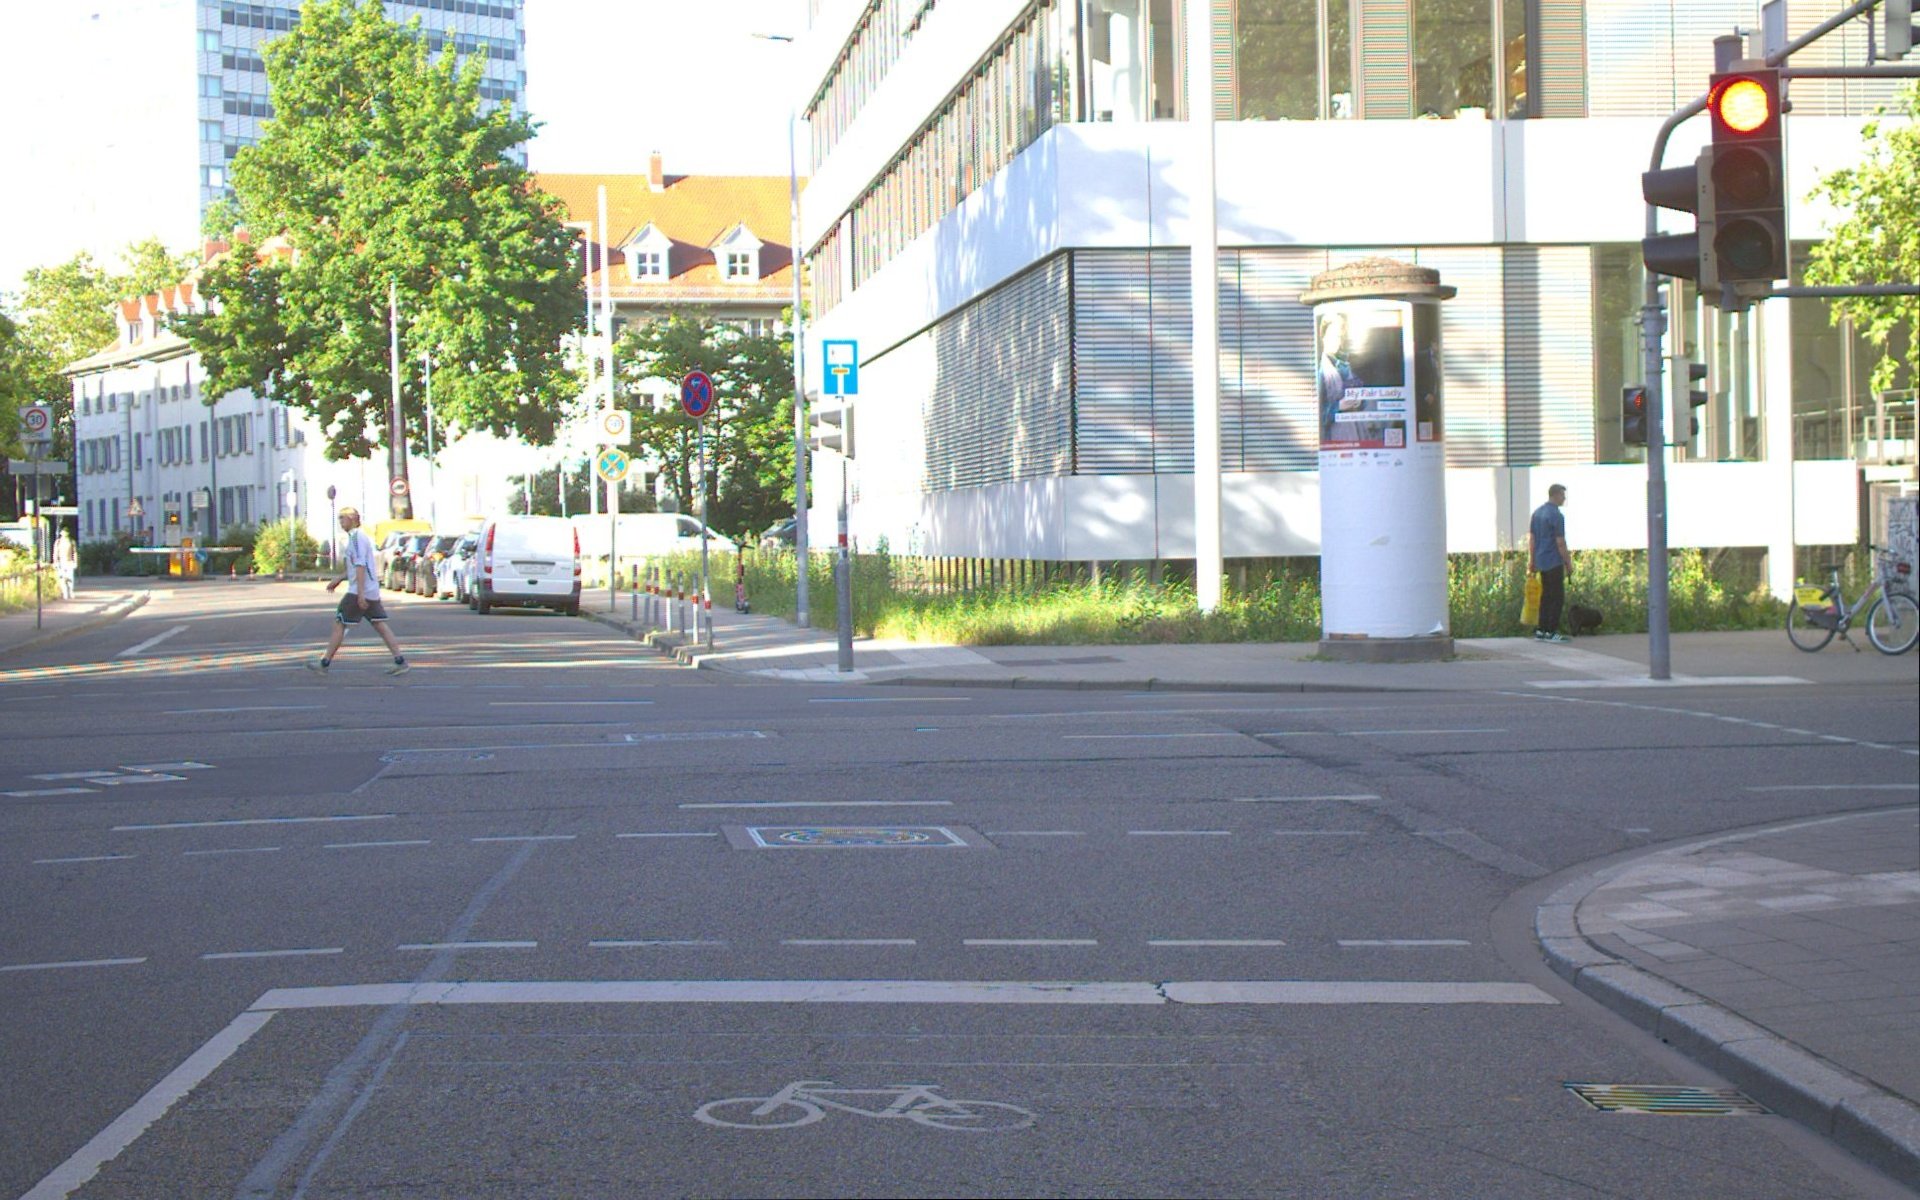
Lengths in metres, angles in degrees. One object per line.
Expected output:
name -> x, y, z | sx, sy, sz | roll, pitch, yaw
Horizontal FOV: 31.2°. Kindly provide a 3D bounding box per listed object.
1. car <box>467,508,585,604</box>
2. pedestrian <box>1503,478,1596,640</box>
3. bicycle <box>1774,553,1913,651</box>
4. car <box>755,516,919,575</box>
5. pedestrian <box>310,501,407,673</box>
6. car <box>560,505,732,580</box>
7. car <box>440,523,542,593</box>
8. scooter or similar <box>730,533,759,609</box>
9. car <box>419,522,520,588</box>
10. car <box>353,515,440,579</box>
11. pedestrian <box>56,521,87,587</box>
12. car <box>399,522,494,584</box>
car -> -8.218, -0.822, 64.828 | 1.993, 1.719, 4.653 | 1, 1, -10
pedestrian -> 6.676, -0.464, 38.982 | 0.914, 1.809, 0.762 | 1, 0, 2
bicycle -> 9.285, 0.014, 36.154 | 0.378, 1.005, 1.432 | -2, 2, -42
car -> -3.753, -1.649, 104.780 | 4.635, 1.719, 2.001 | 1, 1, -16
pedestrian -> -6.618, -0.146, 37.877 | 0.914, 1.862, 0.742 | 1, 0, 0
car -> -9.400, -1.718, 102.937 | 4.791, 2.151, 2.001 | 1, 0, -17
car -> -10.503, -0.943, 76.814 | 1.993, 1.493, 4.653 | 1, 1, -11
scooter or similar -> -3.658, -0.497, 58.297 | 0.437, 1.252, 1.420 | -1, 1, -4
car -> -11.625, -1.069, 81.261 | 1.993, 1.493, 4.288 | 1, 1, -13
car -> -15.737, -1.462, 95.841 | 1.993, 1.719, 4.653 | 1, 1, -14
pedestrian -> -21.487, -1.118, 83.155 | 0.699, 1.581, 0.637 | 1, 0, -16
car -> -12.878, -1.173, 85.985 | 1.993, 1.493, 4.653 | 1, 1, -13
